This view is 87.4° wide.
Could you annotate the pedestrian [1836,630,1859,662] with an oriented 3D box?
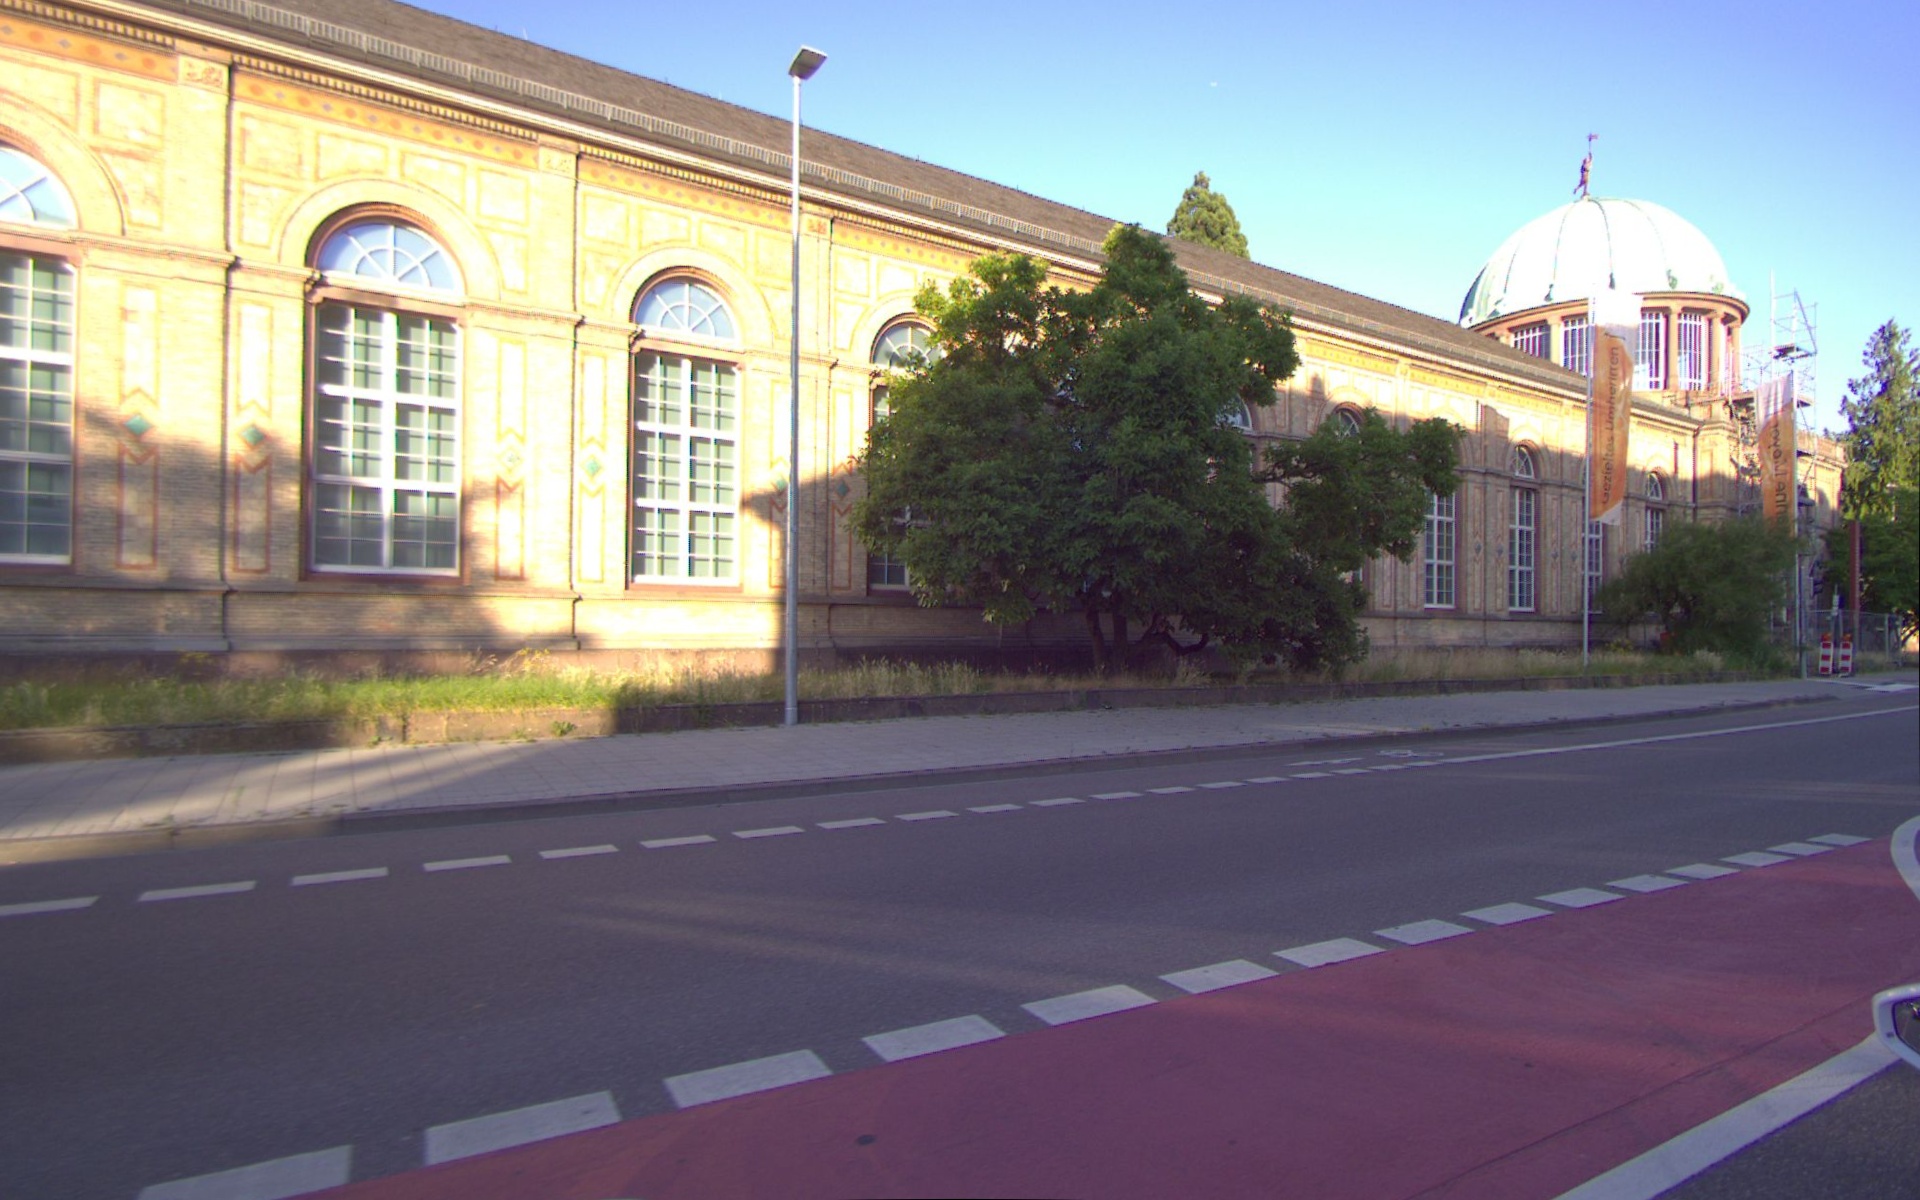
[{"bbox_3d":[44.197,2.291,50.039,0.756,1.600,0.730,1,-1,-38],"label":"pedestrian"}]
